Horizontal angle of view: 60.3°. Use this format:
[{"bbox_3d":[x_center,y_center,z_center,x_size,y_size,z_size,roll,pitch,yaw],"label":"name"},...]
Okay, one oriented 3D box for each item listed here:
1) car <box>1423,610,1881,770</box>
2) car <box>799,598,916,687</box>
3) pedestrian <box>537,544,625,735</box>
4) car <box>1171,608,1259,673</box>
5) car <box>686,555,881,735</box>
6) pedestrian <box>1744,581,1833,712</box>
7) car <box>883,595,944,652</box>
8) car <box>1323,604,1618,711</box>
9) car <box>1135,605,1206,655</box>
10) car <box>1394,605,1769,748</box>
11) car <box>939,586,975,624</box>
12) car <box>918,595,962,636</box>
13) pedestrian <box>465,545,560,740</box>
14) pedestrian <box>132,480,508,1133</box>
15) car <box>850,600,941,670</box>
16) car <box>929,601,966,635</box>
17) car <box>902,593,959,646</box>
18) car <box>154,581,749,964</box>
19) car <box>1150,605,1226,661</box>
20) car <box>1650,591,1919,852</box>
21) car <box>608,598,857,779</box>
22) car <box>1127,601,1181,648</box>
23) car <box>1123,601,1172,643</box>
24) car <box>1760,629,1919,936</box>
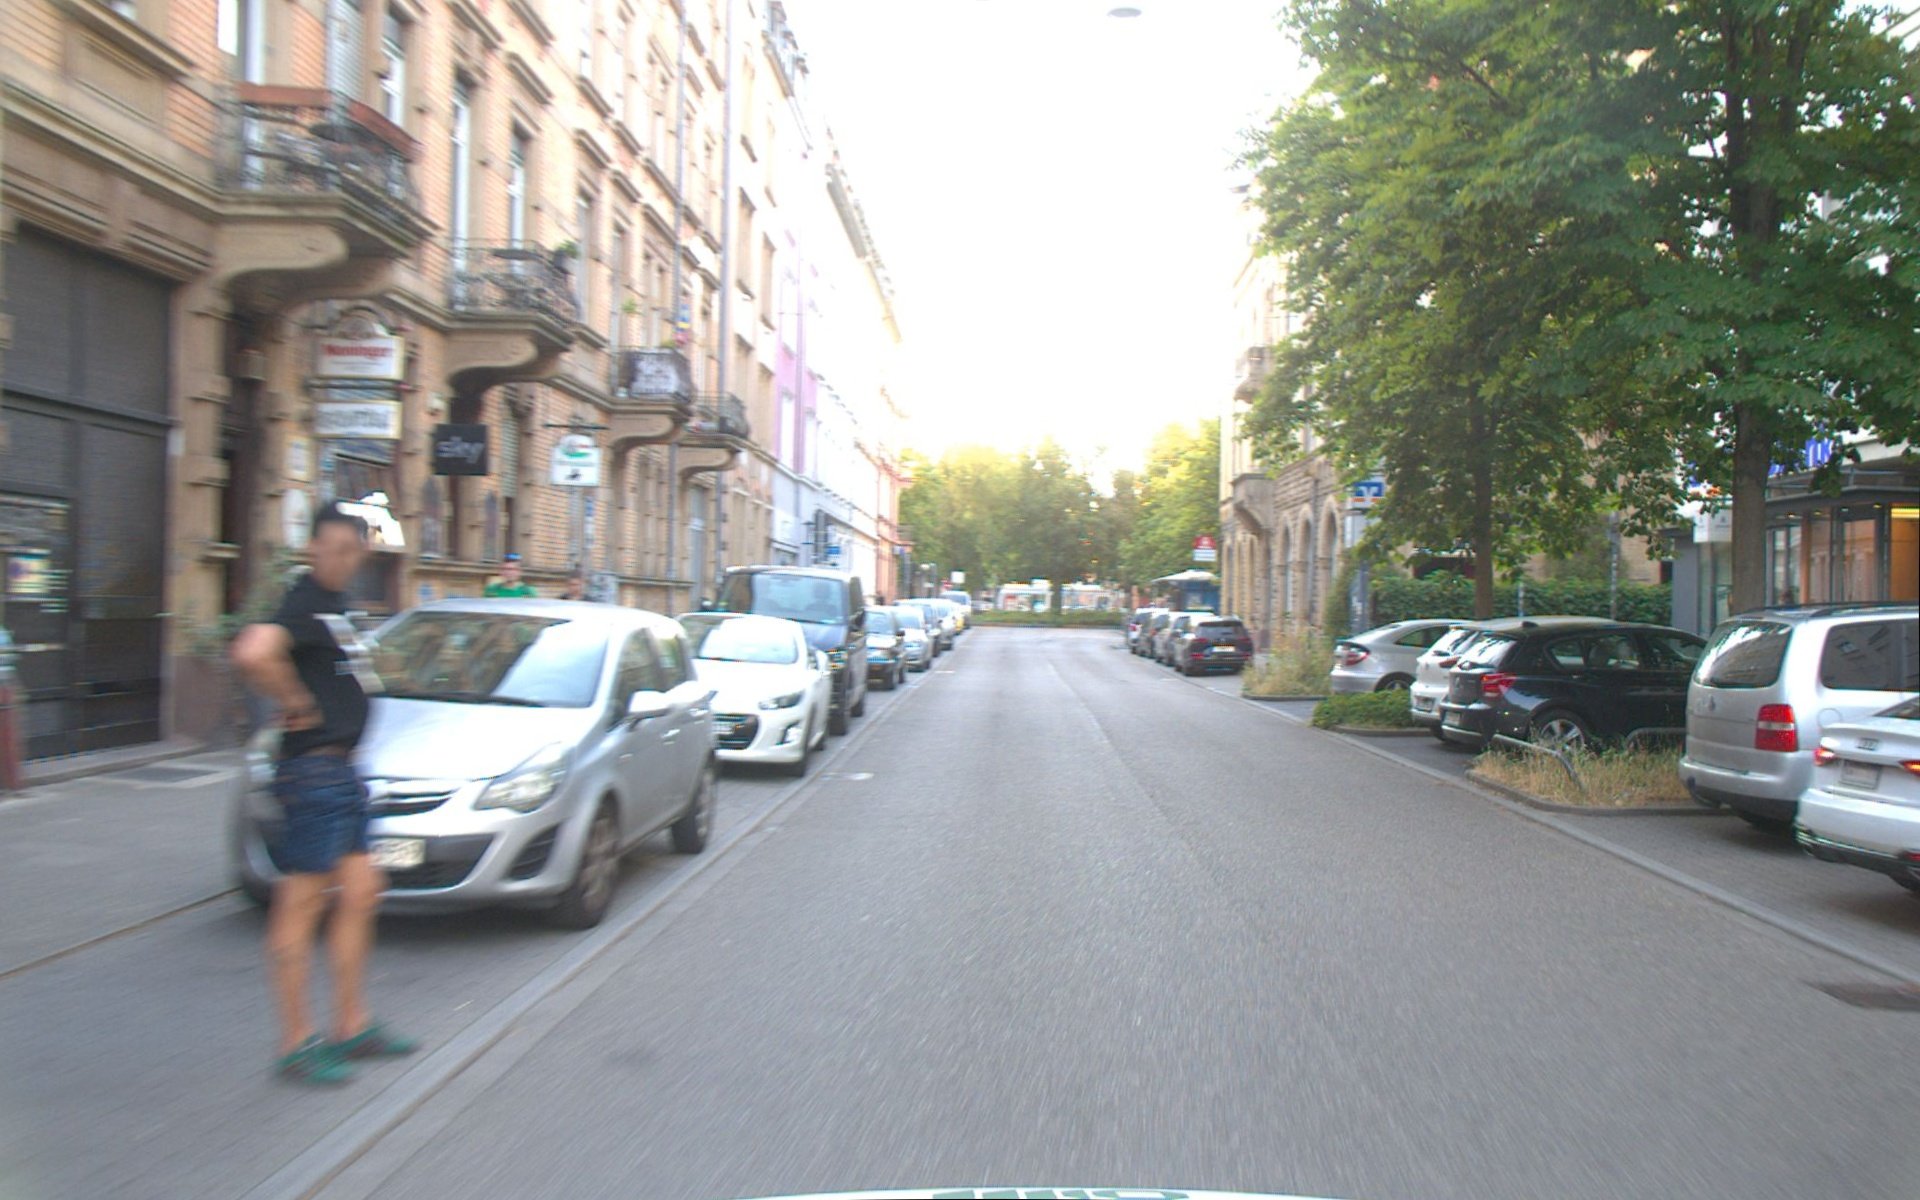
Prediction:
[{"bbox_3d":[6.923,0.870,16.842,3.905,1.481,1.828,-1,0,-1],"label":"car"},{"bbox_3d":[-1.818,0.764,30.794,1.701,1.443,4.779,3,-1,1],"label":"car"},{"bbox_3d":[-3.745,0.377,16.389,0.593,1.803,0.777,4,1,-2],"label":"pedestrian"},{"bbox_3d":[6.361,0.983,41.623,1.641,1.454,4.479,-3,0,3],"label":"car"},{"bbox_3d":[-2.141,0.512,21.435,1.953,1.957,4.950,3,0,-1],"label":"car"},{"bbox_3d":[11.293,0.625,22.564,0.712,1.746,0.963,-1,-1,2],"label":"pedestrian"},{"bbox_3d":[-1.358,0.674,49.540,1.602,1.593,3.782,2,0,1],"label":"car"},{"bbox_3d":[7.768,0.861,25.478,4.000,1.478,1.883,-2,0,4],"label":"car"},{"bbox_3d":[6.725,0.944,53.231,1.642,1.482,3.799,-2,0,-2],"label":"car"},{"bbox_3d":[7.200,0.859,19.395,3.718,1.478,1.734,-2,0,-3],"label":"car"},{"bbox_3d":[-0.183,0.269,92.129,1.774,2.011,4.184,3,0,-2],"label":"car"},{"bbox_3d":[-0.836,0.654,71.796,1.663,1.649,4.022,3,0,1],"label":"car"},{"bbox_3d":[-4.344,0.393,16.120,0.568,1.802,0.997,4,1,-2],"label":"pedestrian"},{"bbox_3d":[-1.926,0.573,5.112,0.542,1.786,1.023,1,-1,13],"label":"pedestrian"},{"bbox_3d":[-1.511,0.809,39.970,1.796,1.483,4.207,4,0,2],"label":"car"},{"bbox_3d":[-0.597,0.829,78.048,1.664,1.451,4.021,3,0,-1],"label":"car"},{"bbox_3d":[-0.994,0.645,56.007,1.807,1.688,4.251,1,0,-1],"label":"car"},{"bbox_3d":[-2.349,0.699,8.788,1.681,1.483,4.002,3,0,3],"label":"car"},{"bbox_3d":[6.529,0.916,47.665,1.641,1.482,4.230,-2,0,1],"label":"car"},{"bbox_3d":[7.391,0.771,11.656,4.307,1.676,1.747,-1,0,1],"label":"car"},{"bbox_3d":[-2.076,0.756,16.329,1.747,1.447,4.485,3,0,0],"label":"car"},{"bbox_3d":[6.776,0.840,58.077,1.641,1.527,3.902,-2,0,3],"label":"car"},{"bbox_3d":[7.233,0.813,64.119,1.641,1.527,4.019,-2,0,3],"label":"car"},{"bbox_3d":[6.887,0.891,8.904,4.336,1.481,1.778,-1,0,-4],"label":"car"}]
